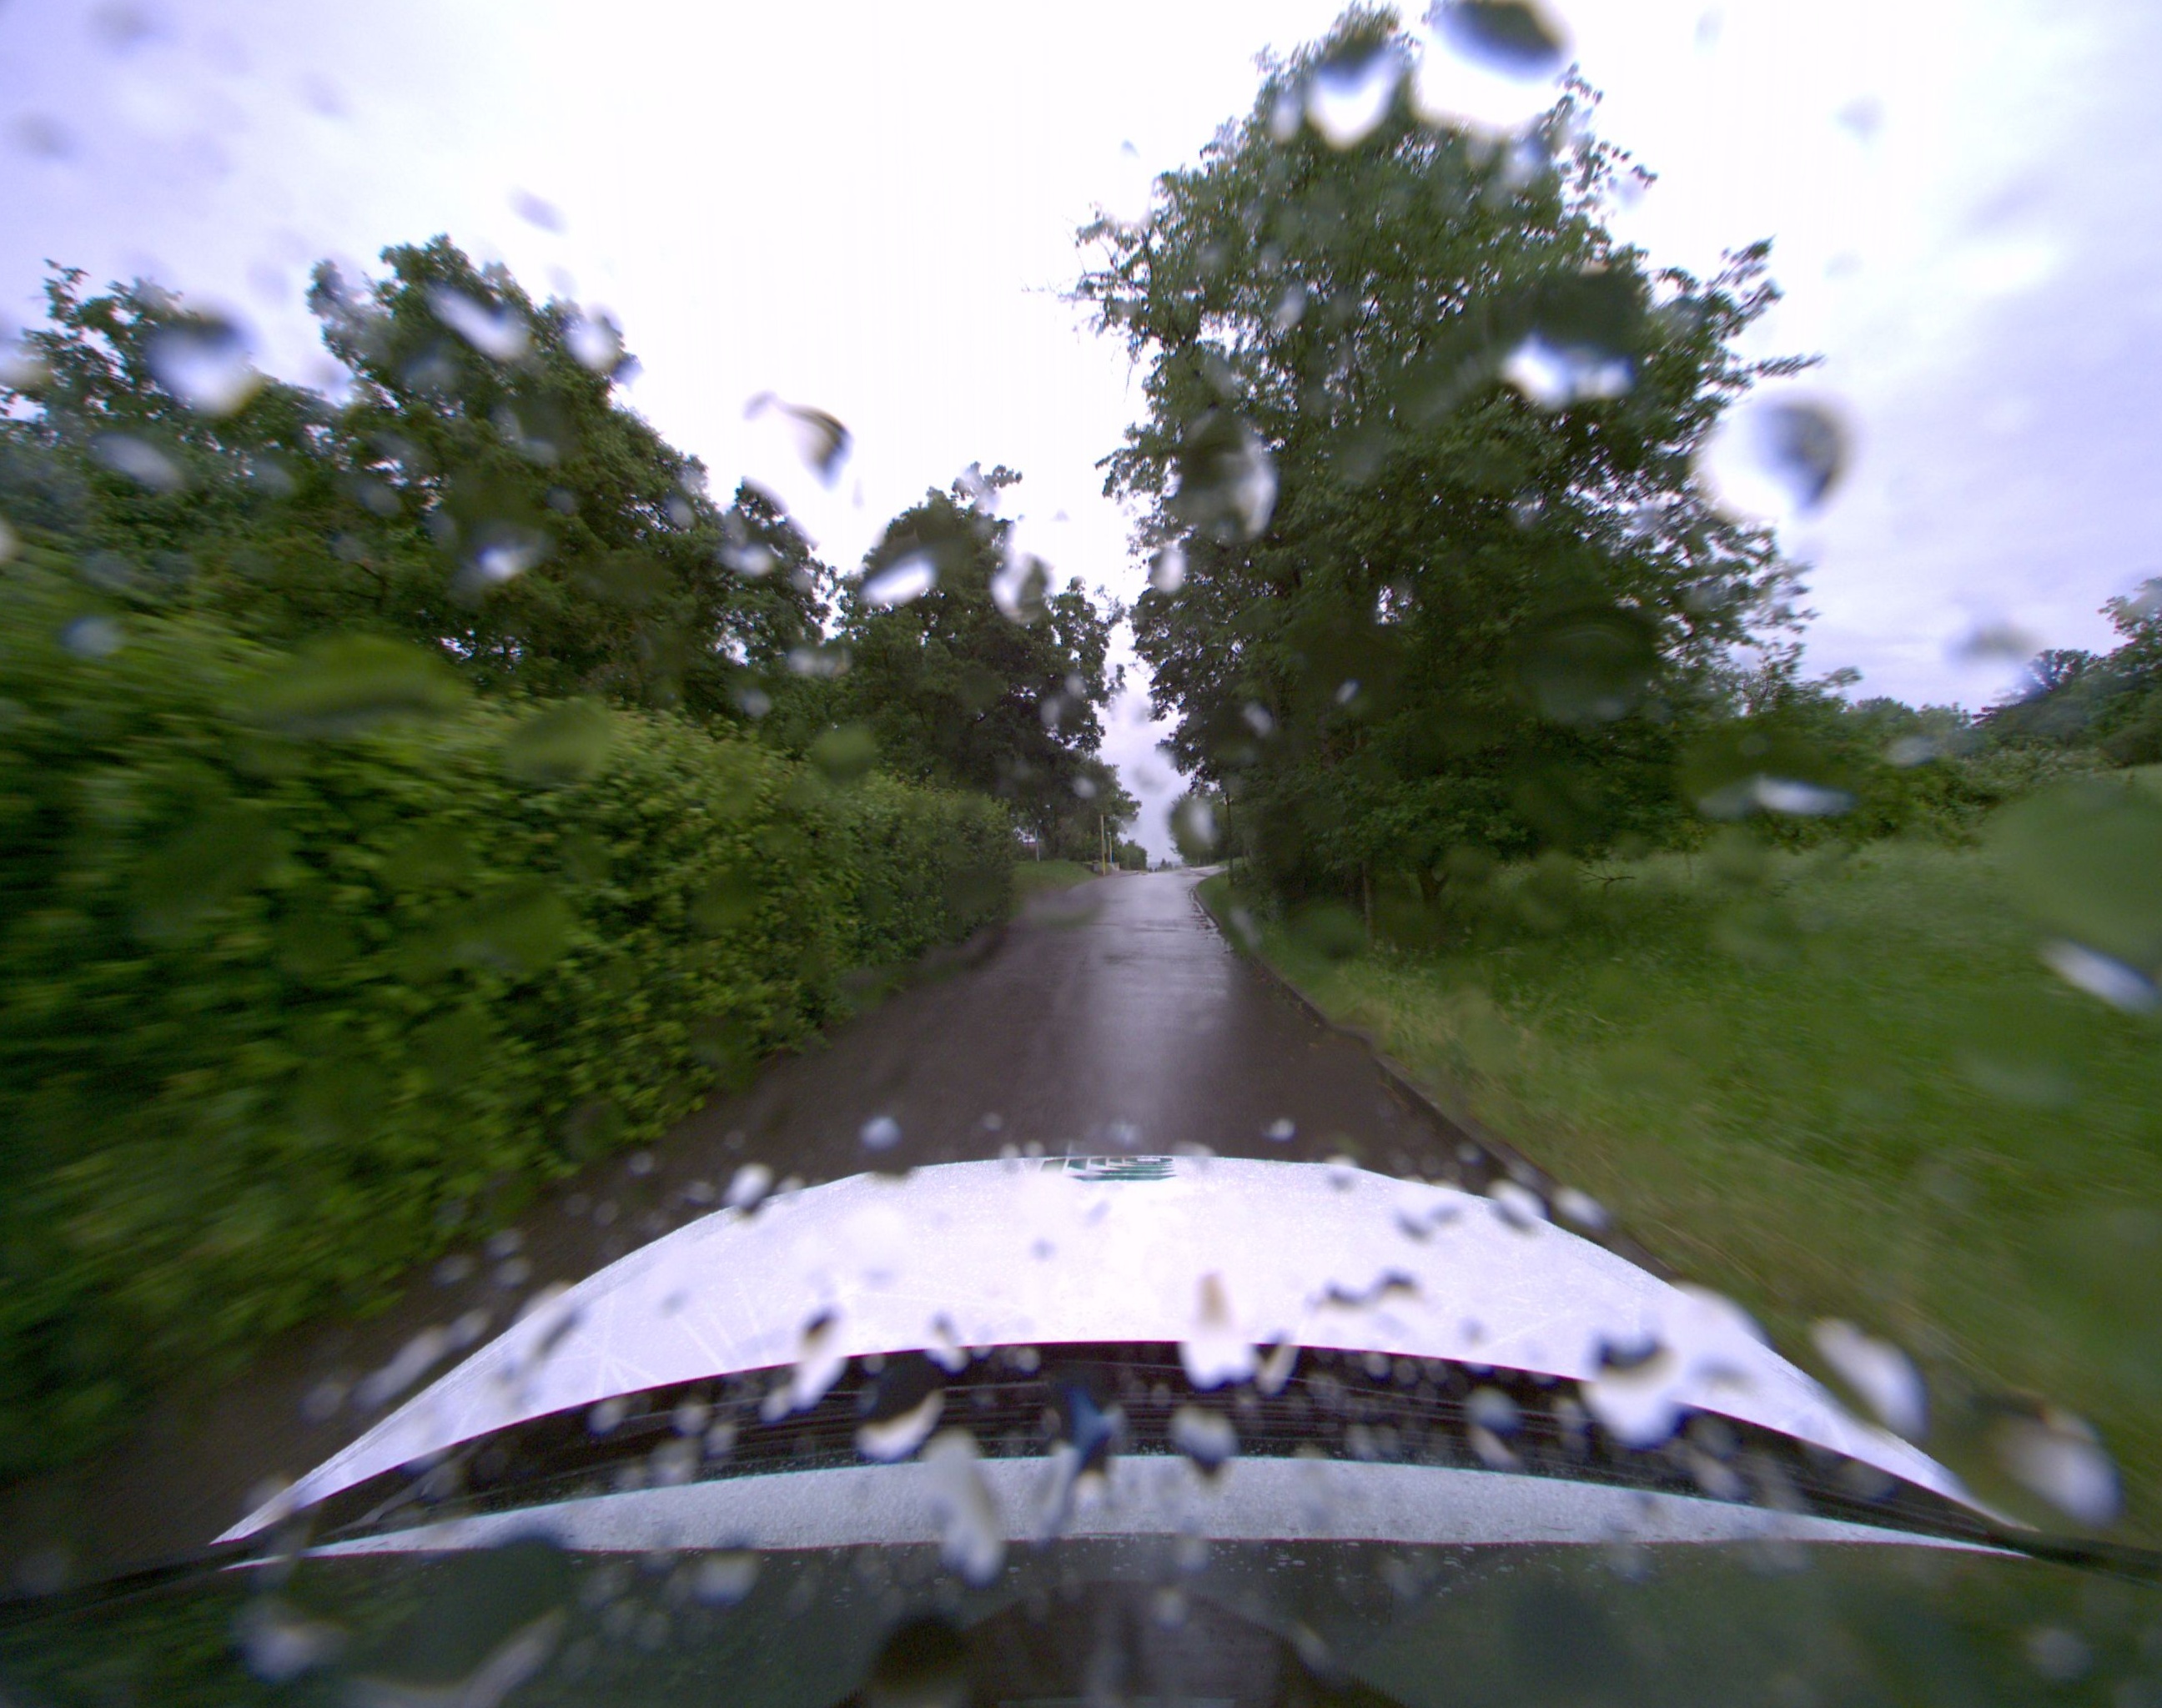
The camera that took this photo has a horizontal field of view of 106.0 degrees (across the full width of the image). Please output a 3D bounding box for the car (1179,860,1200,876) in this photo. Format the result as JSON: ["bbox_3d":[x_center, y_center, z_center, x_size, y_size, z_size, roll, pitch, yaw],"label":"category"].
[{"bbox_3d":[12.144,1.591,91.003,1.980,1.583,4.012,-3,-4,12],"label":"car"}]
